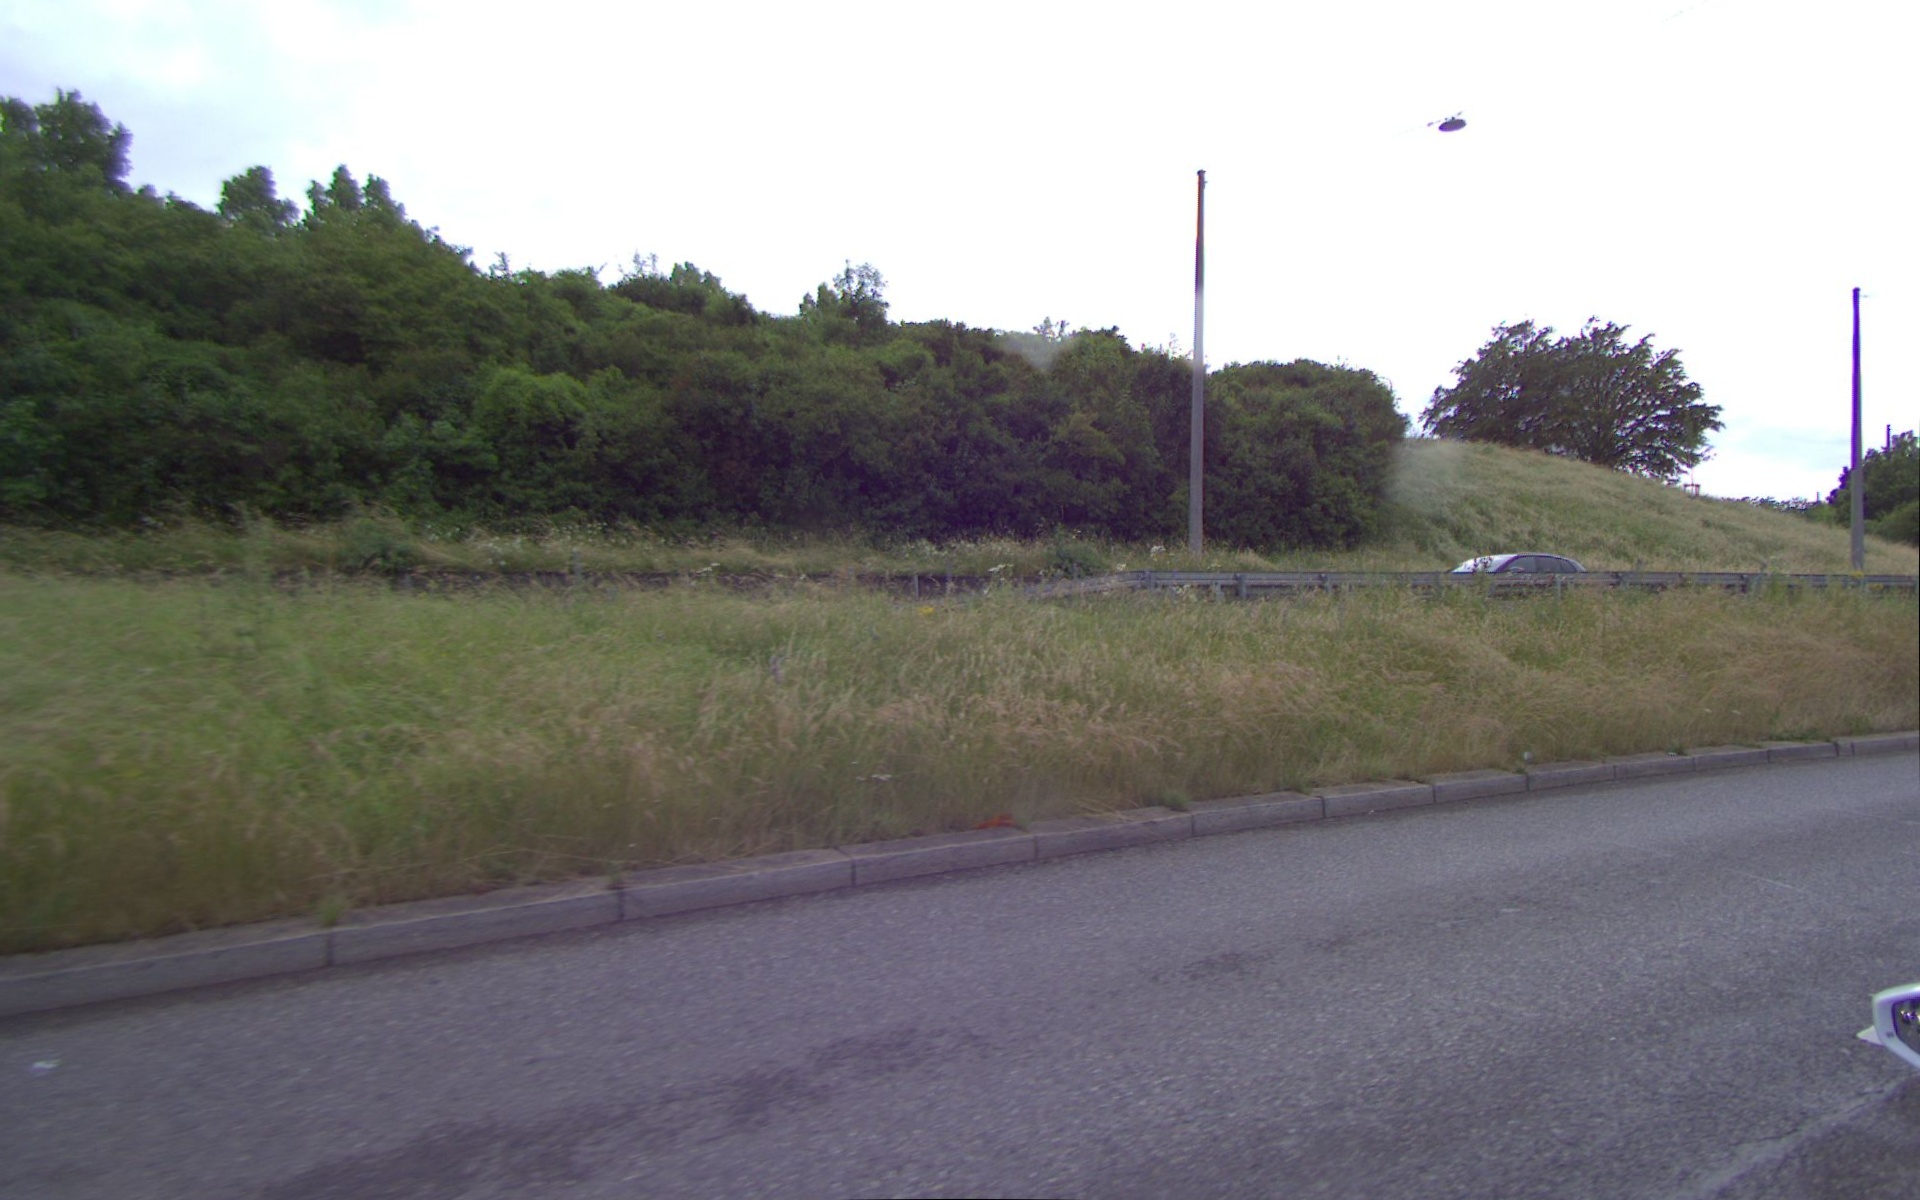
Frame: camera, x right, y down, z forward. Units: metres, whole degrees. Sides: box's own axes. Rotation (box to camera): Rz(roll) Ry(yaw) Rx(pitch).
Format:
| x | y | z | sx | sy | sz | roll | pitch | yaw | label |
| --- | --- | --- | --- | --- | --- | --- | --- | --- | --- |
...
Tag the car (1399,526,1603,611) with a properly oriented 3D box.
| x | y | z | sx | sy | sz | roll | pitch | yaw | label |
| --- | --- | --- | --- | --- | --- | --- | --- | --- | --- |
| 11.680 | -0.681 | 21.695 | 3.943 | 1.679 | 1.707 | 0 | 4 | -23 | car |
